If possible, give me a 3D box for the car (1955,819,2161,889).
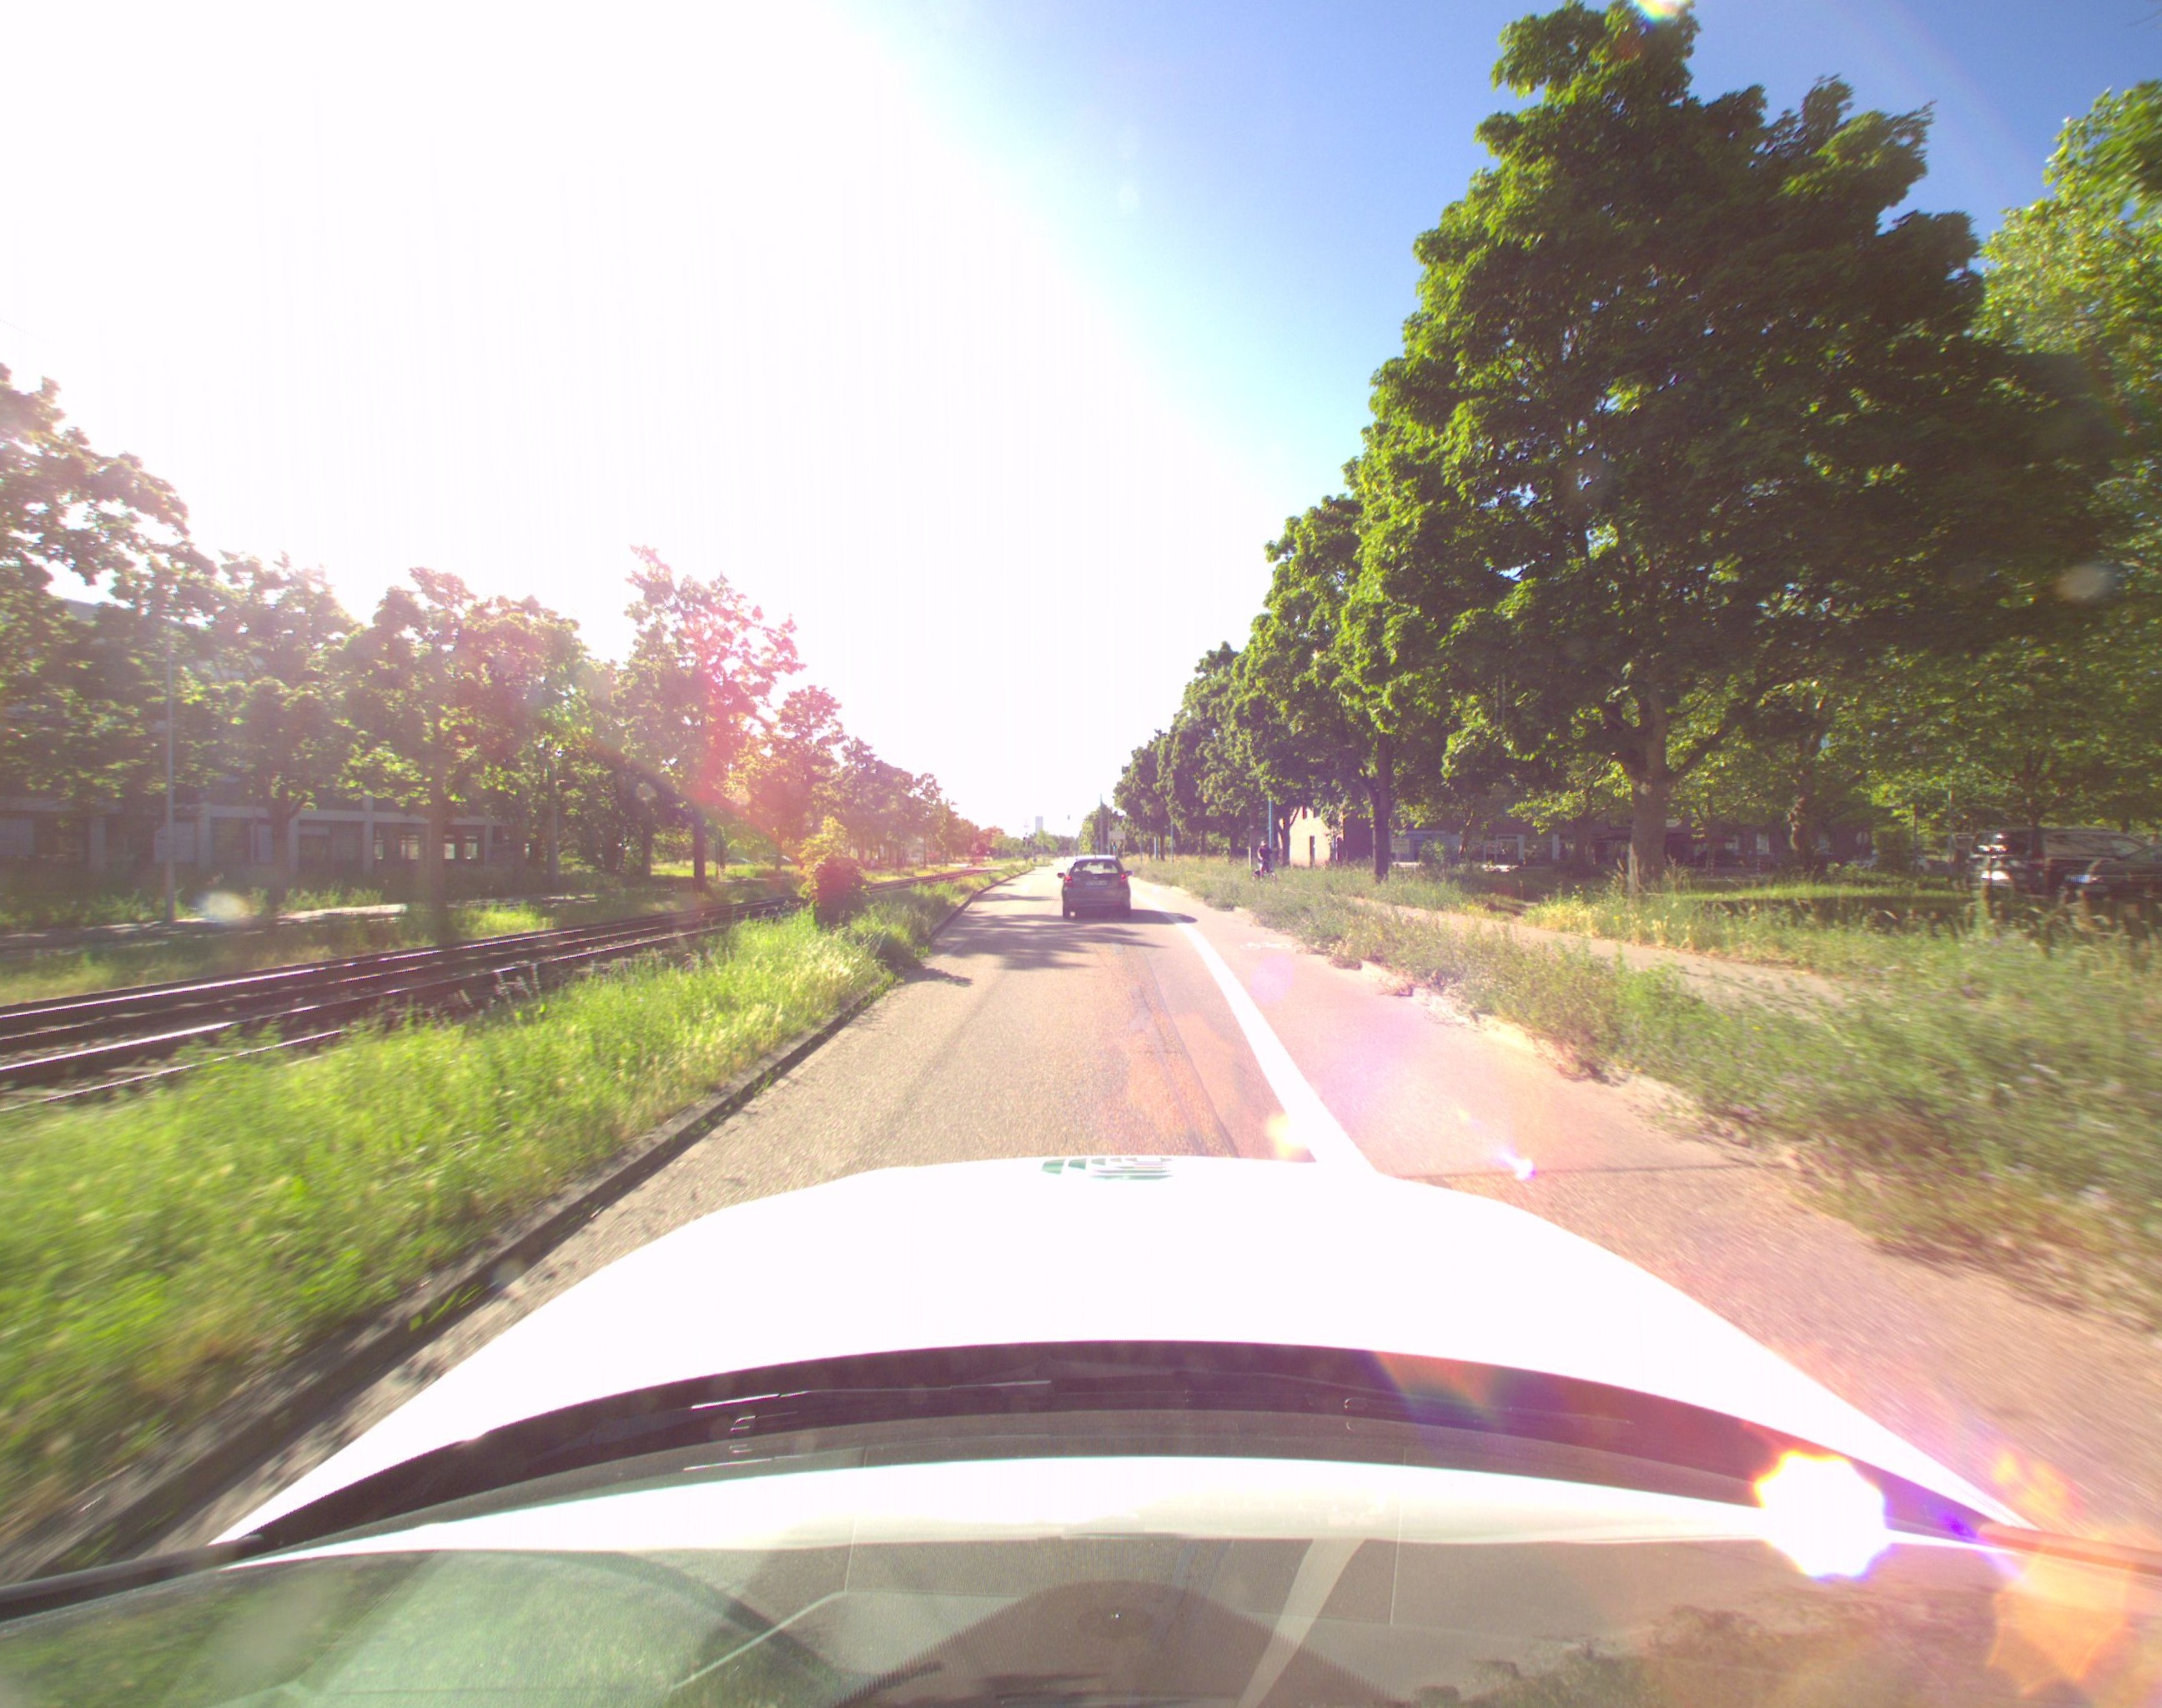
[{"bbox_3d":[23.079,-0.006,18.739,4.015,1.505,1.739,-1,0,1],"label":"car"}]

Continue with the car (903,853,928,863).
[{"bbox_3d":[-32.533,0.747,160.135,1.837,1.974,4.817,-1,0,38],"label":"car"}]

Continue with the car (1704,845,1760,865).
[{"bbox_3d":[60.604,0.069,75.876,3.984,1.828,1.868,0,0,-8],"label":"car"}]

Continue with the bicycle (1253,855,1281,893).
[{"bbox_3d":[6.121,0.658,26.905,0.481,1.204,2.144,-1,-2,2],"label":"bicycle"}]

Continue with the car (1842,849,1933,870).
[{"bbox_3d":[54.644,0.385,55.236,4.499,1.399,1.830,0,0,-2],"label":"car"}]

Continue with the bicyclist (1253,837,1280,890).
[{"bbox_3d":[6.128,0.305,26.936,0.680,1.720,0.903,-1,-1,1],"label":"bicyclist"}]

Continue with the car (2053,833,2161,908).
[{"bbox_3d":[22.984,0.292,16.509,4.336,1.459,1.691,-1,0,4],"label":"car"}]

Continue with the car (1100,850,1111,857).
[{"bbox_3d":[5.114,-0.096,171.452,1.771,1.386,3.863,-2,0,-5],"label":"car"}]

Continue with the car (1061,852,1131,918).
[{"bbox_3d":[0.322,0.729,20.905,1.620,1.499,3.455,-2,0,-1],"label":"car"}]
